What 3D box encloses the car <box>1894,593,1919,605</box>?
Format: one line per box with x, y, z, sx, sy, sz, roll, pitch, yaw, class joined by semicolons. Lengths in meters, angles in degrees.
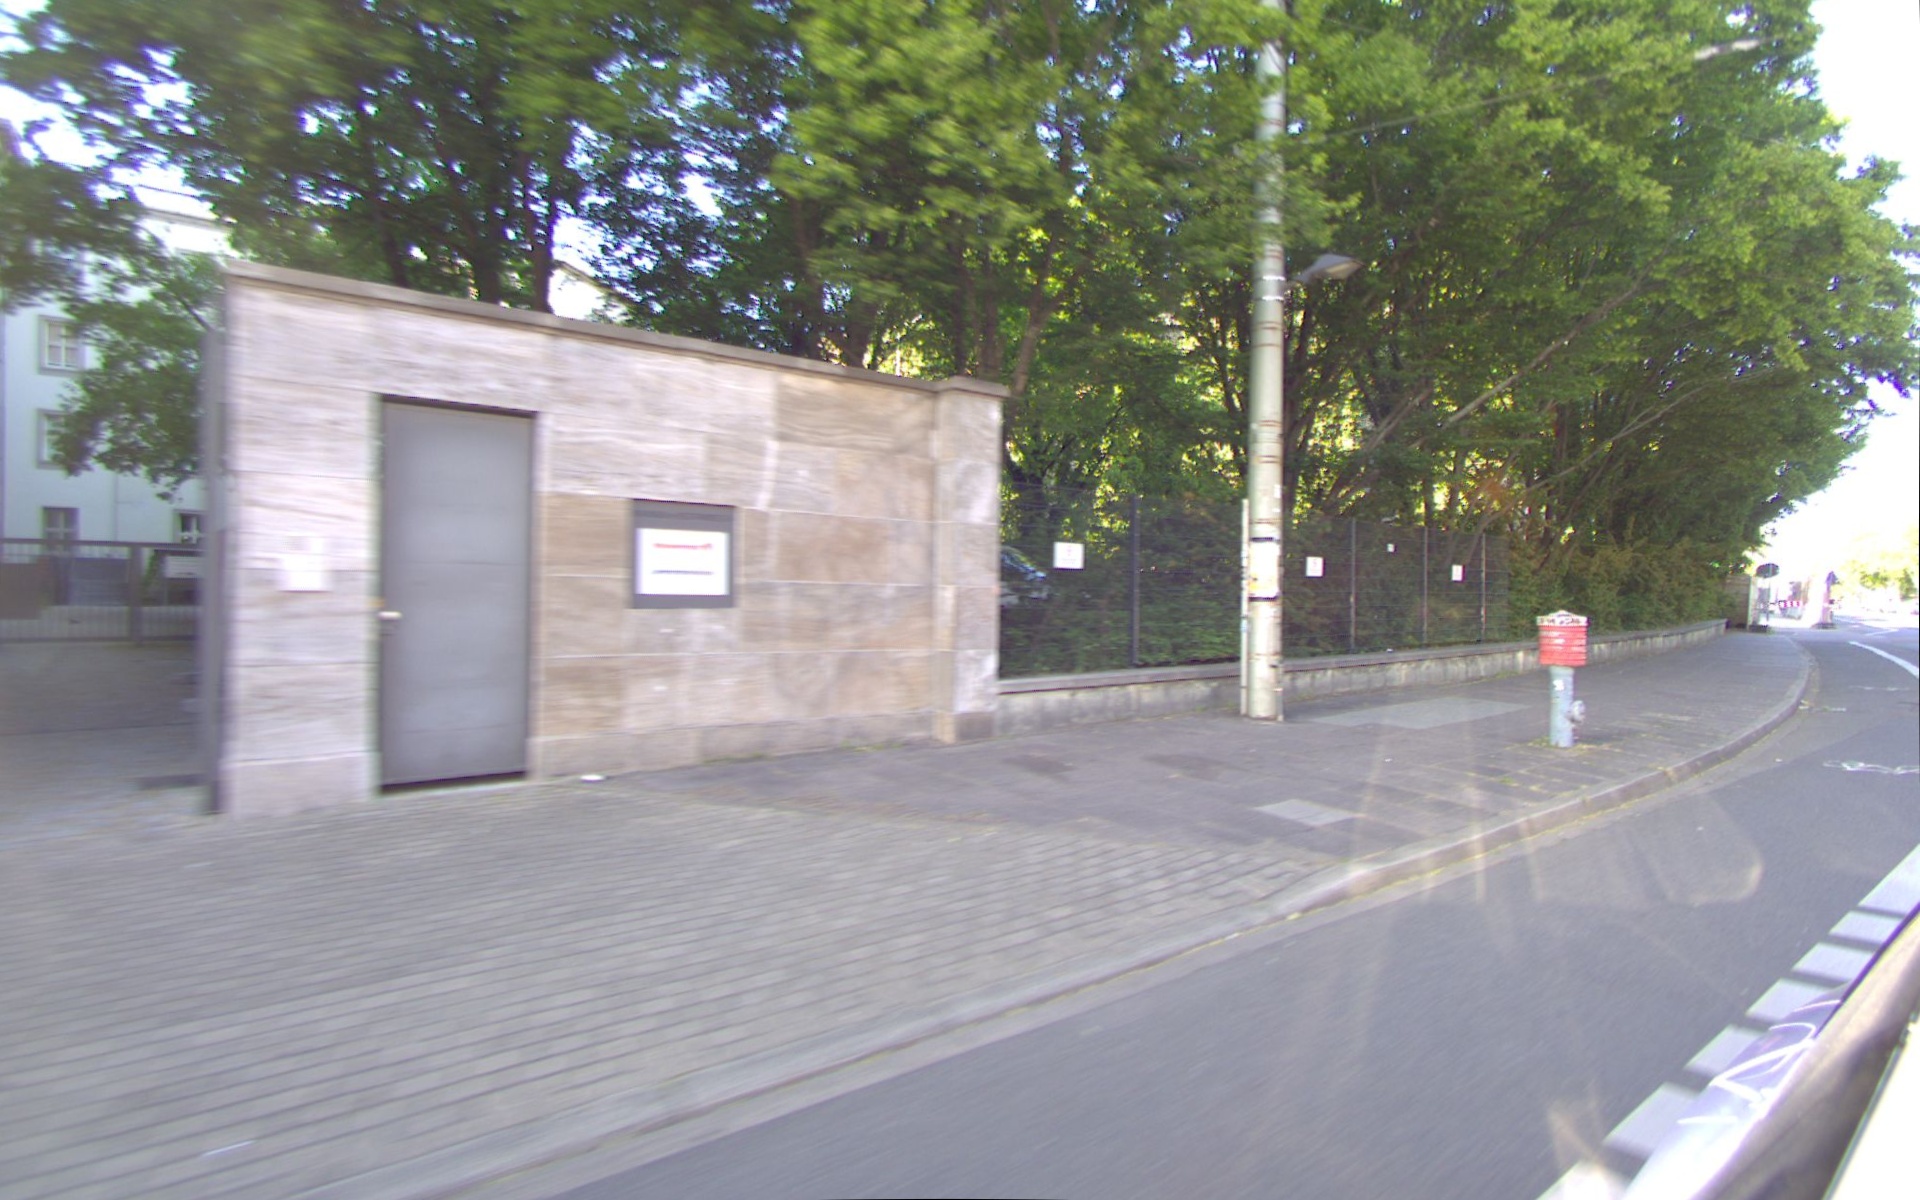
122.284;-0.173;129.703;3.596;1.520;1.486;-2;-1;34;car

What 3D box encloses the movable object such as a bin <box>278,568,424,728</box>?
-6.195;0.434;10.272;1.091;1.486;1.375;0;1;-39;movable object such as a bin
